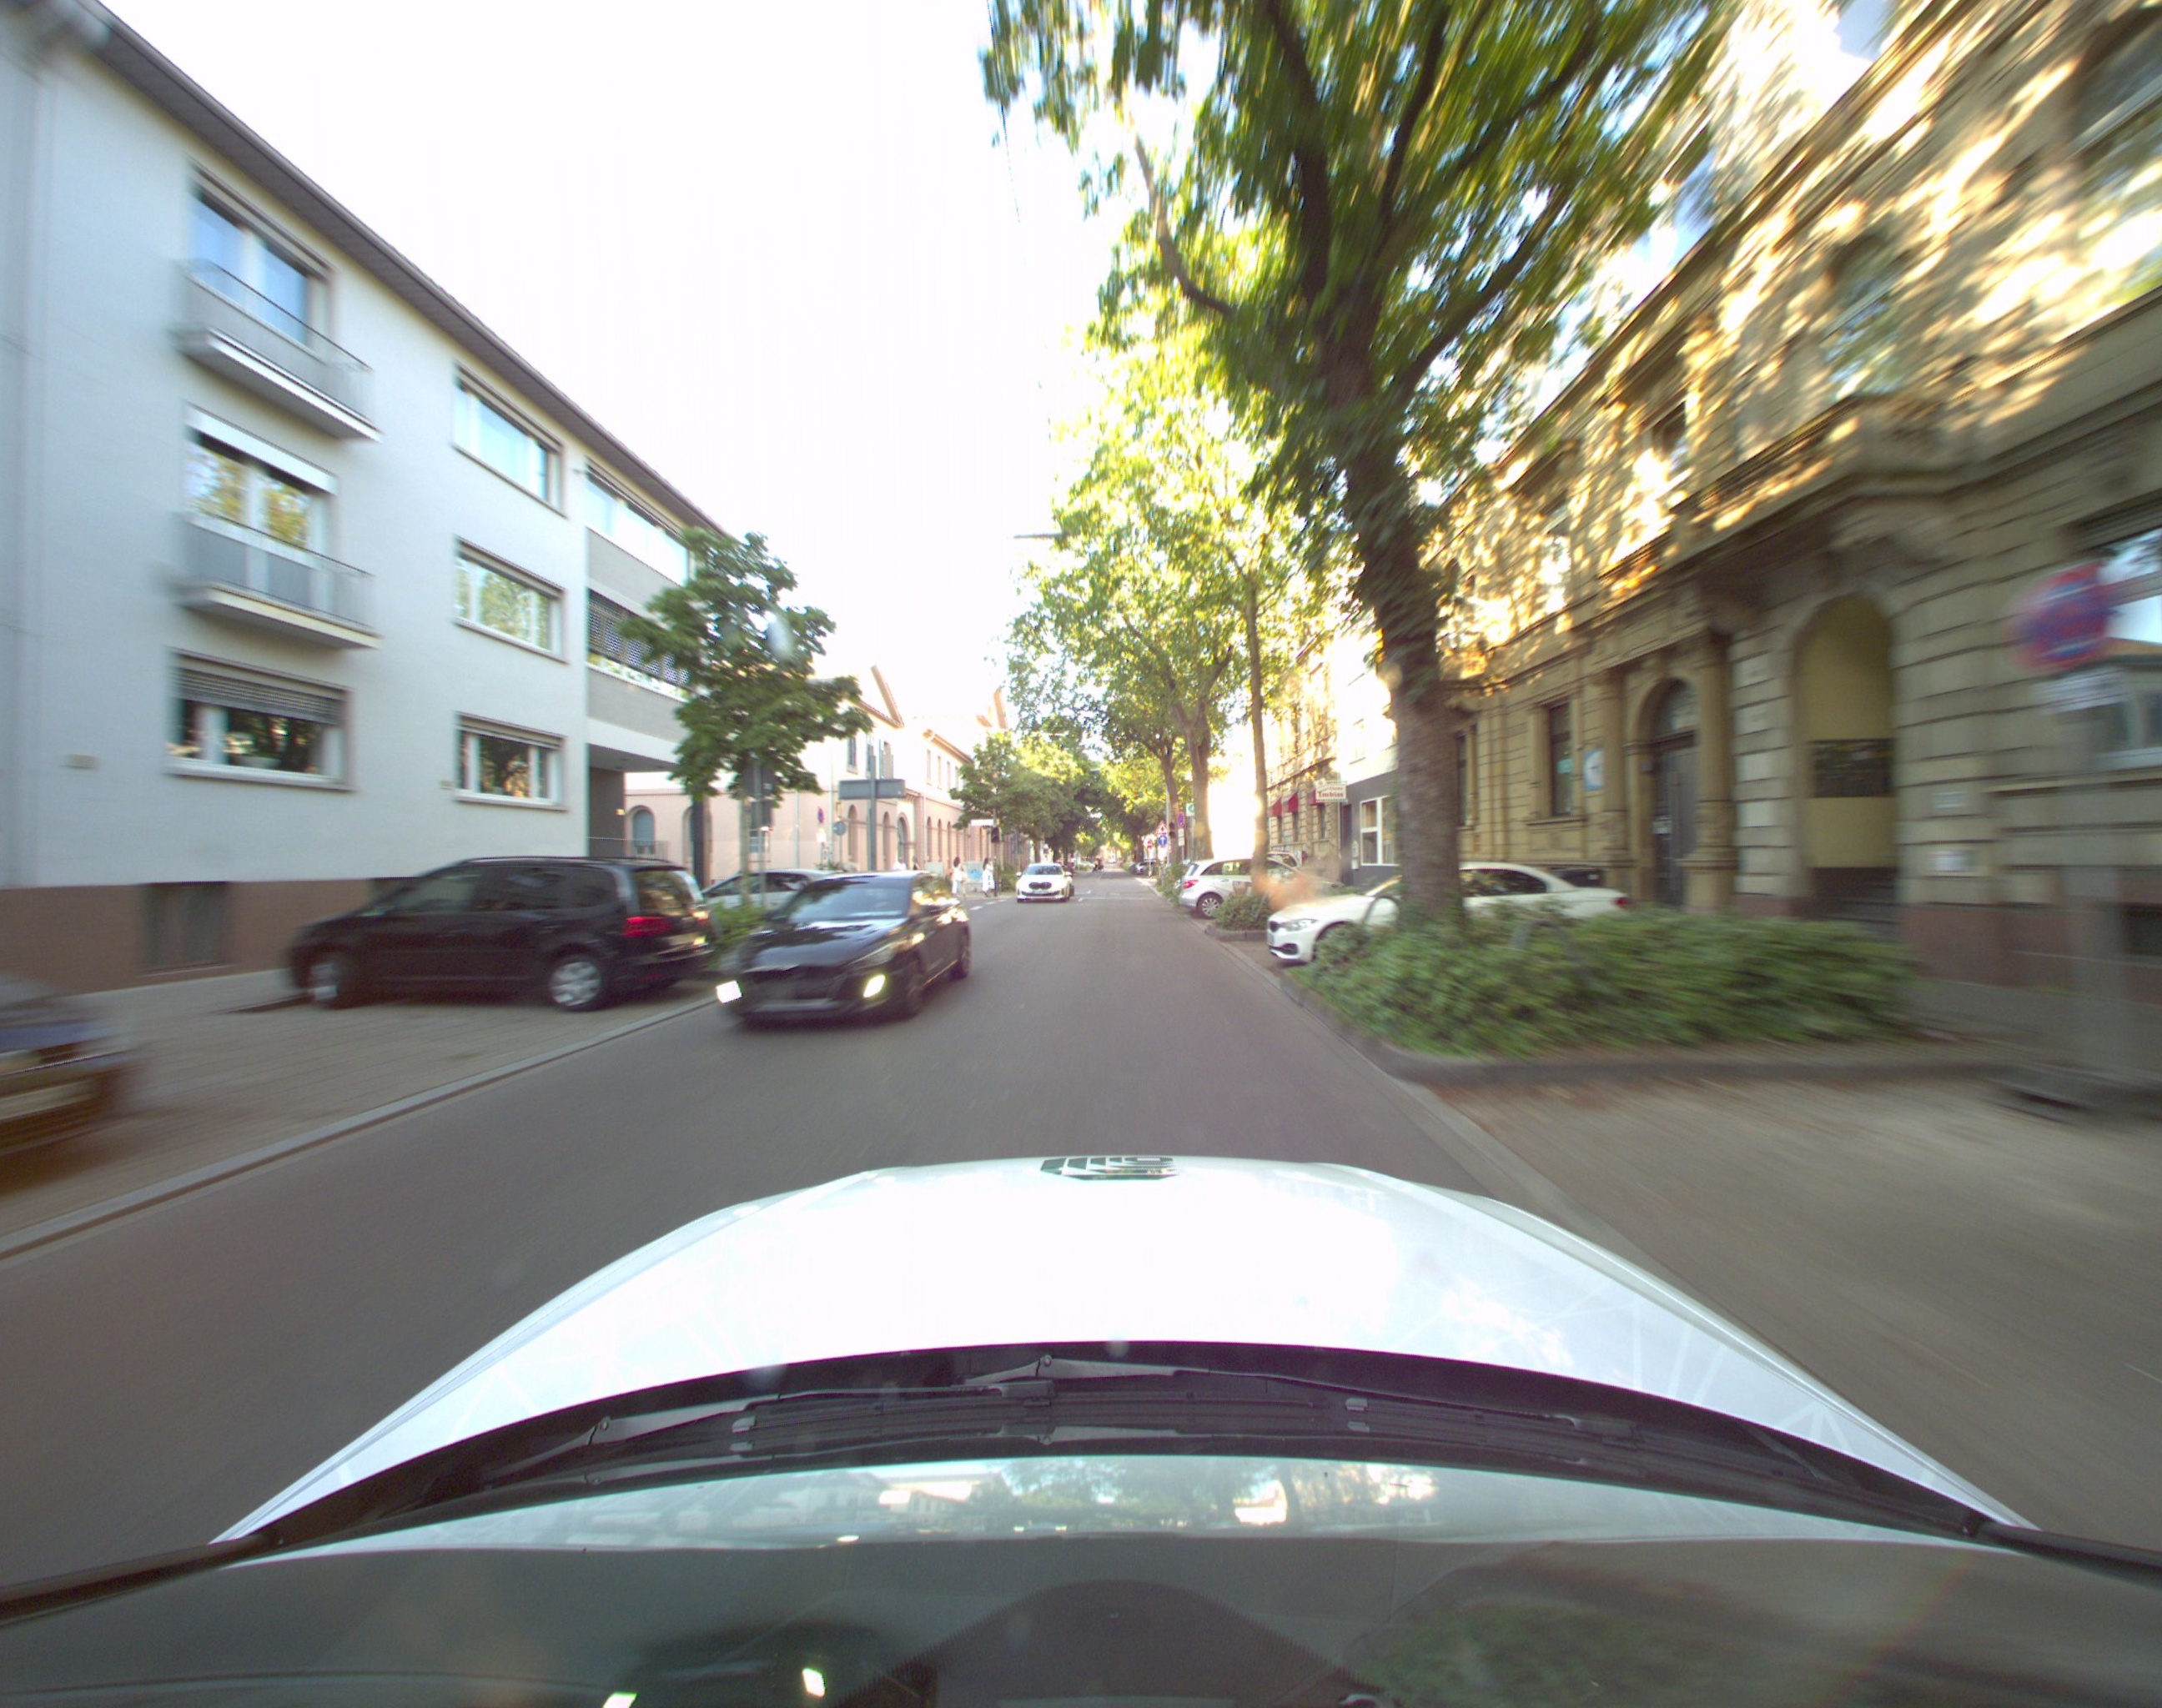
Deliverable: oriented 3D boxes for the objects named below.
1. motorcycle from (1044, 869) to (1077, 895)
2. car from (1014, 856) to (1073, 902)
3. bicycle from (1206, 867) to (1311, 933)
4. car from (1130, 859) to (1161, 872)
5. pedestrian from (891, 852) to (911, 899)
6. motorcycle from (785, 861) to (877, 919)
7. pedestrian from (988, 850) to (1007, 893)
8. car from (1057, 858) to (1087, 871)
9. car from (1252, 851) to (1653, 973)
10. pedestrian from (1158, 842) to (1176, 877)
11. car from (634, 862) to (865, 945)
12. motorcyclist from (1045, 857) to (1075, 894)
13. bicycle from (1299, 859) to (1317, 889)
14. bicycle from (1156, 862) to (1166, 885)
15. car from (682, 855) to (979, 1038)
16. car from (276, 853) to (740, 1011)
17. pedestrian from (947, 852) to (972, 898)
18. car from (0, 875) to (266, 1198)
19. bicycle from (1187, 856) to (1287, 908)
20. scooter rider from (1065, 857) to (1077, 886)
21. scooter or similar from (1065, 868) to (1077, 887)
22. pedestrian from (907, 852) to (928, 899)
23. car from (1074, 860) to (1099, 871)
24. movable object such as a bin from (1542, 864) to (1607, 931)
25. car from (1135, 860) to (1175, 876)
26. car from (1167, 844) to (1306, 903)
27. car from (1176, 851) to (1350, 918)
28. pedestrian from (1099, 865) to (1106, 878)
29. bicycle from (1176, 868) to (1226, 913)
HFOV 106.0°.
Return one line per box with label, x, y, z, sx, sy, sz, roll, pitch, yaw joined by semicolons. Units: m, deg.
motorcycle;-0.910;1.266;36.483;1.307;1.090;2.397;-1;-2;2
car;-1.338;0.895;30.512;1.870;1.549;4.276;-2;-1;1
bicycle;3.621;0.928;16.629;2.020;1.204;0.487;-3;-1;-11
car;8.566;1.528;108.291;4.000;1.623;1.781;-1;-1;1
pedestrian;-7.181;0.846;32.527;0.550;1.850;0.614;-1;-1;16
motorcycle;-6.482;0.930;21.136;2.129;1.419;0.973;-2;-1;23
pedestrian;-3.734;0.773;36.307;0.768;1.888;0.790;-1;-1;-10
car;-1.544;1.867;141.754;5.045;2.083;2.264;-1;-1;1
car;4.773;0.731;11.067;4.563;1.437;1.927;-1;0;4
pedestrian;5.377;0.355;51.073;1.039;2.146;1.064;0;-1;2
car;-6.348;0.919;15.881;3.728;1.458;1.735;1;-1;1
motorcyclist;-0.928;0.965;36.503;1.275;1.592;1.078;-1;-1;2
bicycle;9.370;0.808;33.673;0.383;1.211;1.727;-1;-1;4
bicycle;4.932;1.171;50.159;0.413;1.372;1.293;-2;-1;14
car;-2.461;0.822;9.256;1.869;1.549;4.277;-2;-1;2
car;-6.458;0.817;9.534;4.076;1.632;1.937;0;-1;3
pedestrian;-4.894;0.841;32.939;0.786;1.791;0.772;2;0;5
car;-6.979;0.834;4.093;4.058;1.440;1.756;1;-1;3
bicycle;4.986;0.883;26.151;3.105;1.663;0.658;0;-1;-3
scooter rider;-0.612;1.083;50.268;0.491;1.791;0.877;-1;-2;12
scooter or similar;-0.614;1.430;50.253;0.498;1.145;1.254;-1;-2;13
pedestrian;-6.486;0.841;32.374;0.550;1.850;0.614;0;1;16
car;1.155;2.378;167.135;5.042;2.083;2.265;-1;-1;3
movable object such as a bin;8.145;0.710;13.464;0.655;1.064;0.615;-2;-1;2
car;7.892;1.492;87.515;4.176;1.480;1.853;-2;-1;2
car;5.445;0.674;28.956;4.526;1.915;1.950;-2;-1;-1
car;4.643;0.767;21.359;4.204;1.560;1.973;-2;0;5
pedestrian;2.895;2.326;108.919;0.870;1.650;0.656;0;-1;9
bicycle;3.418;1.034;23.225;1.332;1.204;0.488;-2;-1;1
